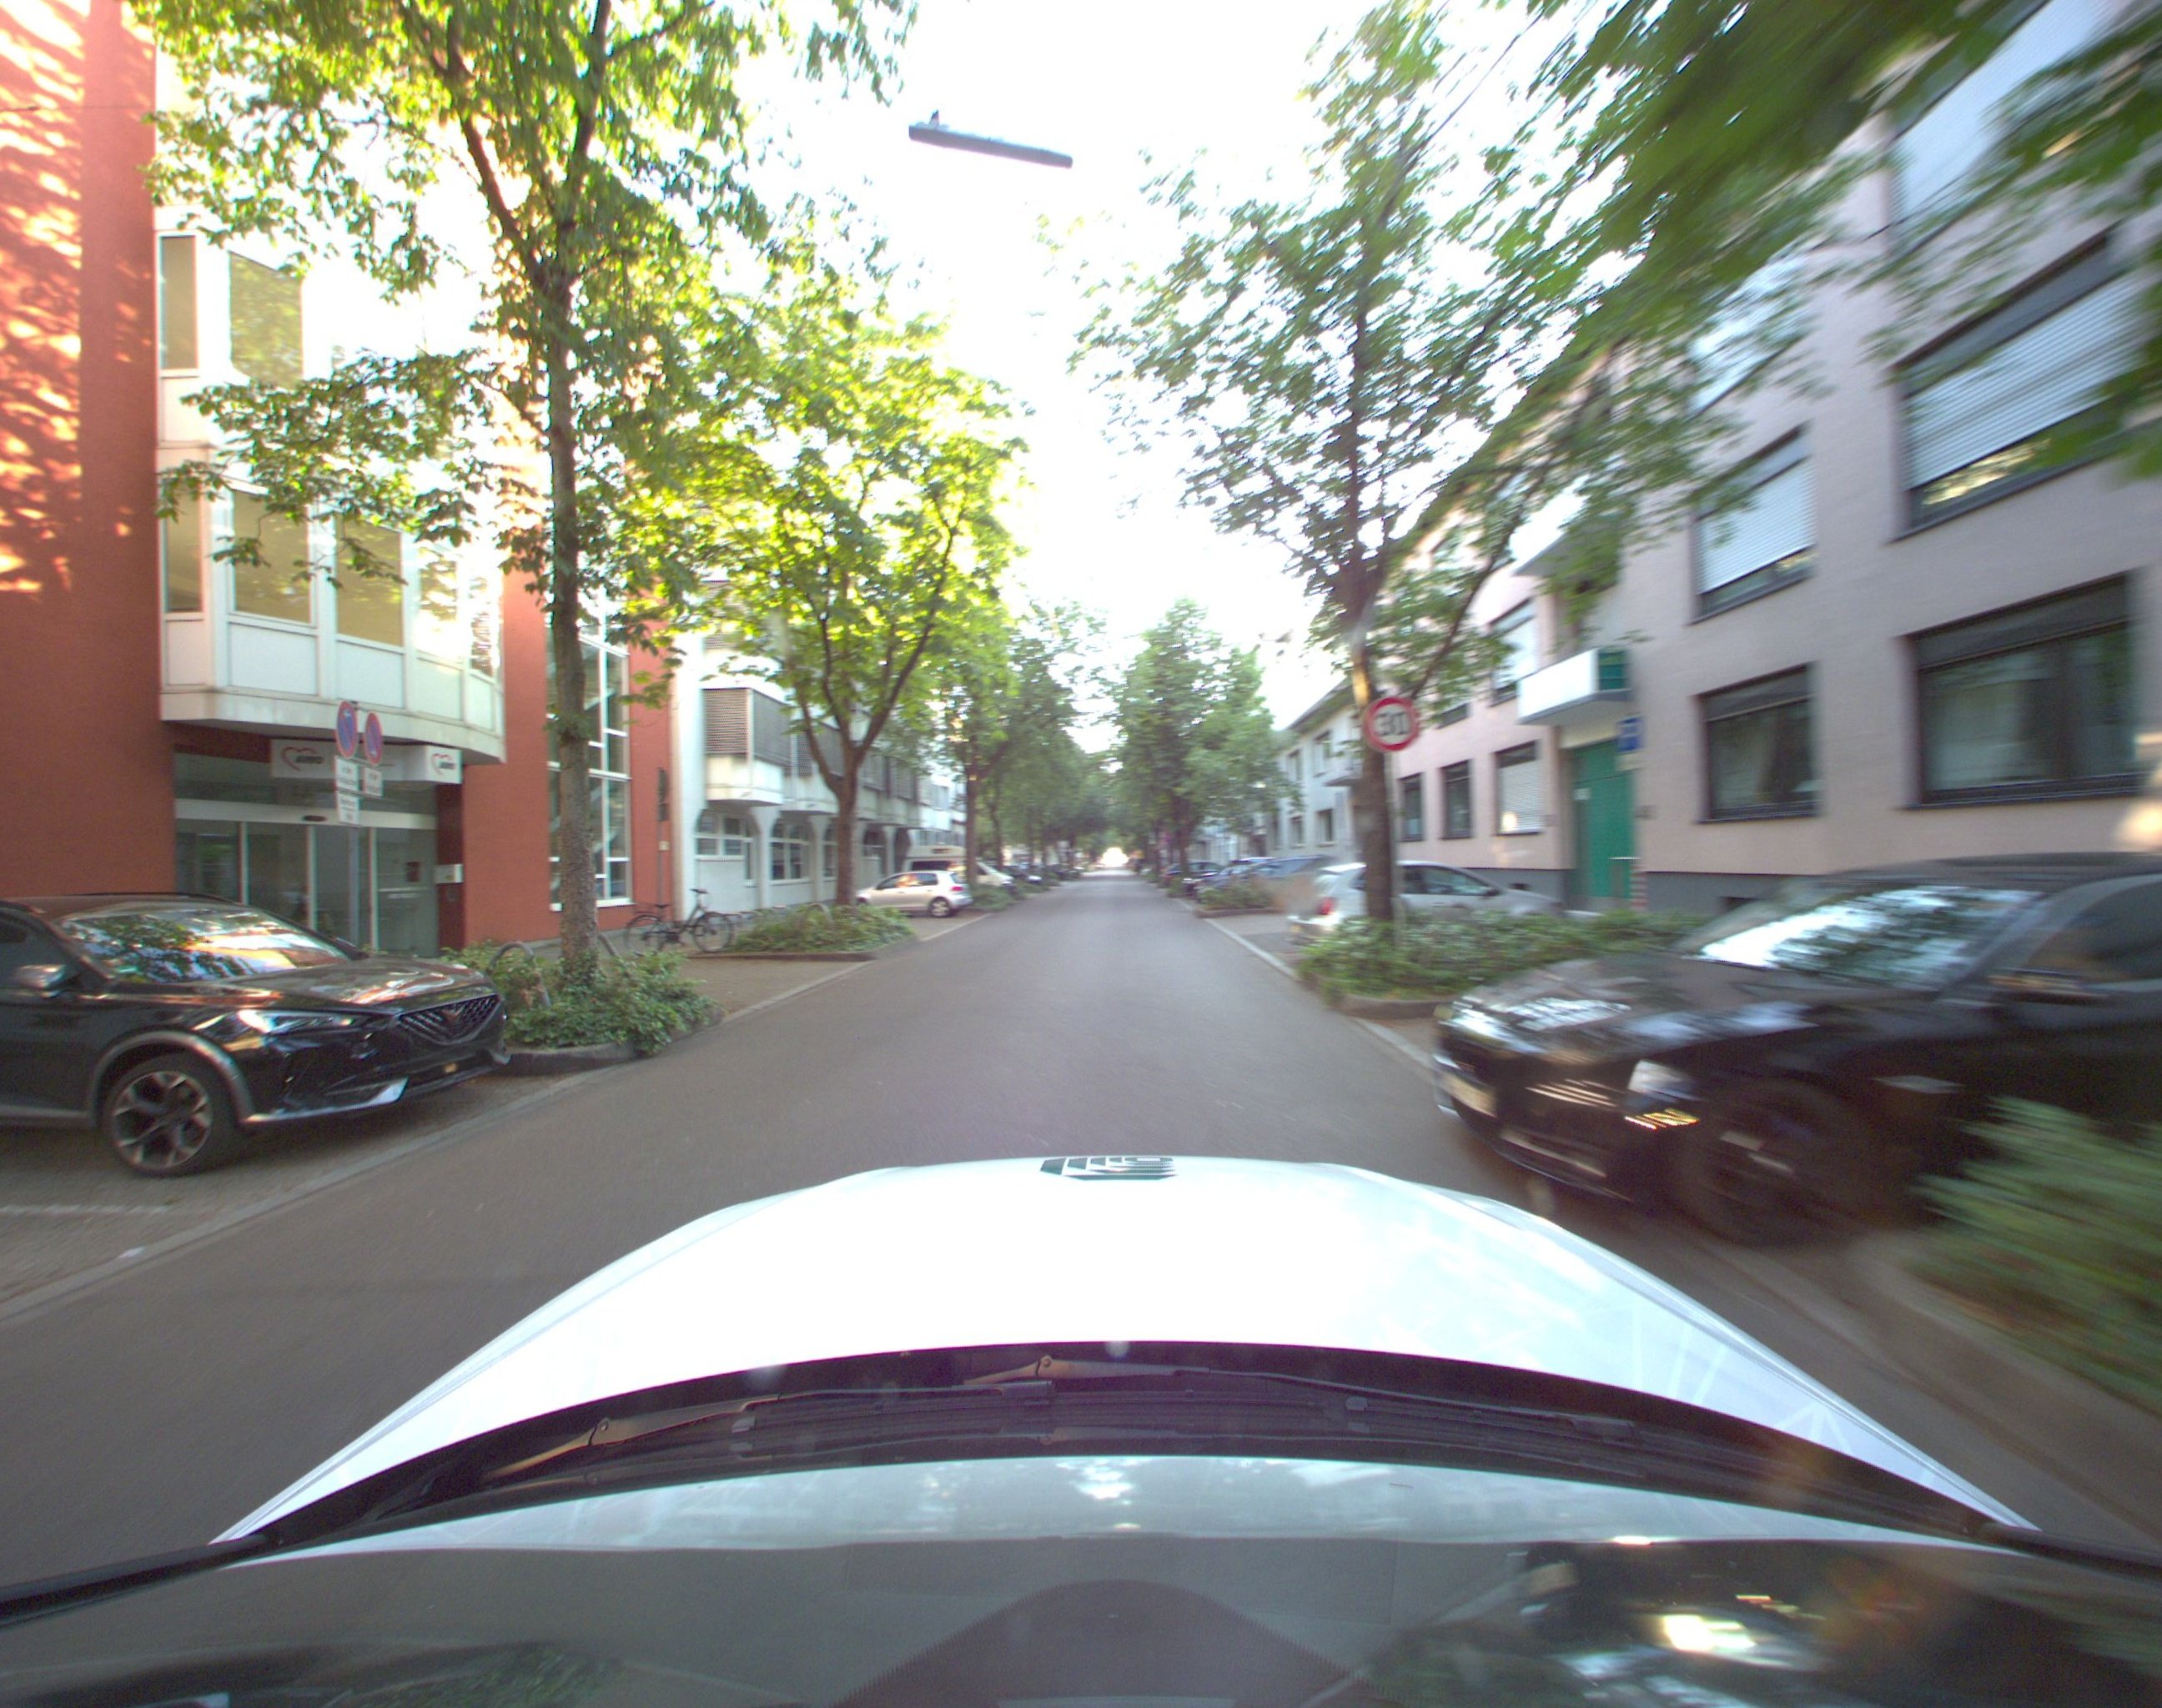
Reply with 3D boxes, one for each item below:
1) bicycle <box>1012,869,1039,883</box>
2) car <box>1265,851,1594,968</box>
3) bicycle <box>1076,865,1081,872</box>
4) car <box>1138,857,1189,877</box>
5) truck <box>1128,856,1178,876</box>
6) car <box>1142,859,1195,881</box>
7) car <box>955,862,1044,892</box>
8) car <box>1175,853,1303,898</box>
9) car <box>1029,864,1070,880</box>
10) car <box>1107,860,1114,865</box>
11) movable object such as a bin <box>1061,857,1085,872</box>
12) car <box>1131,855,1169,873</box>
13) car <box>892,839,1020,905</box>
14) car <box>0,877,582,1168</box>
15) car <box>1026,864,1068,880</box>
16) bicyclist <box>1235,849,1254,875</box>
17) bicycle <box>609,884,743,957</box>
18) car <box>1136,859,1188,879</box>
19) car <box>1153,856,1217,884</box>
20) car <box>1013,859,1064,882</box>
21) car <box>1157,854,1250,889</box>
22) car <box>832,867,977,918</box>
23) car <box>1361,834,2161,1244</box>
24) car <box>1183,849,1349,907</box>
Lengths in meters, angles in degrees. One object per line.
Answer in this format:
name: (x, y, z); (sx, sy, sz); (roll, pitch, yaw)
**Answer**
bicycle: (-3.323, 1.332, 49.075); (1.545, 0.830, 0.614); (-1, -1, 5)
car: (4.953, 0.759, 11.987); (4.070, 1.490, 1.797); (-1, -1, -1)
bicycle: (-0.368, 2.220, 125.990); (0.681, 1.152, 1.979); (-2, 0, -3)
car: (8.015, 1.265, 79.545); (4.630, 1.617, 2.008); (-5, -1, -2)
truck: (8.581, 1.433, 97.584); (5.864, 2.311, 2.214); (-1, -1, 2)
car: (7.323, 1.338, 68.356); (4.075, 1.451, 1.932); (-5, -1, -4)
car: (-4.648, 1.307, 46.984); (4.833, 1.622, 2.162); (-1, -1, 2)
car: (6.172, 0.851, 32.263); (4.658, 1.388, 2.002); (-4, -1, 3)
car: (-3.241, 1.838, 84.206); (3.965, 1.566, 1.933); (-1, -1, 7)
car: (9.426, 2.736, 260.223); (2.003, 1.613, 4.120); (0, 1, 1)
movable object such as a bin: (-1.380, 1.772, 140.571); (4.038, 2.383, 2.781); (-2, 0, -4)
car: (8.474, 1.244, 100.336); (4.584, 2.066, 2.198); (-2, -1, 1)
car: (-5.220, 0.744, 34.581); (4.984, 2.573, 2.122); (-1, -1, 2)
car: (-6.186, 0.993, 5.464); (4.492, 1.526, 1.872); (-1, -1, 1)
car: (-3.270, 1.769, 79.162); (3.973, 1.464, 1.922); (-1, -1, 0)
bicyclist: (10.086, 0.484, 50.272); (0.965, 1.604, 1.138); (-2, 0, 5)
bicycle: (-7.051, 1.145, 14.248); (1.955, 1.176, 0.655); (-2, -1, -5)
car: (7.375, 1.375, 74.506); (4.583, 1.468, 1.796); (-4, -1, 1)
car: (6.898, 1.071, 54.308); (3.955, 1.585, 1.917); (-4, -1, 1)
car: (-3.807, 1.507, 73.948); (4.490, 1.955, 2.000); (-1, -1, 0)
car: (6.143, 0.886, 41.121); (4.436, 1.427, 2.014); (-4, -1, 6)
car: (-5.633, 1.226, 26.343); (4.151, 1.468, 1.954); (-2, -1, 2)
car: (4.151, 0.681, 4.027); (4.855, 1.497, 1.989); (-1, -1, 2)
car: (5.734, 0.745, 25.805); (4.818, 1.448, 2.044); (-4, -1, 4)
